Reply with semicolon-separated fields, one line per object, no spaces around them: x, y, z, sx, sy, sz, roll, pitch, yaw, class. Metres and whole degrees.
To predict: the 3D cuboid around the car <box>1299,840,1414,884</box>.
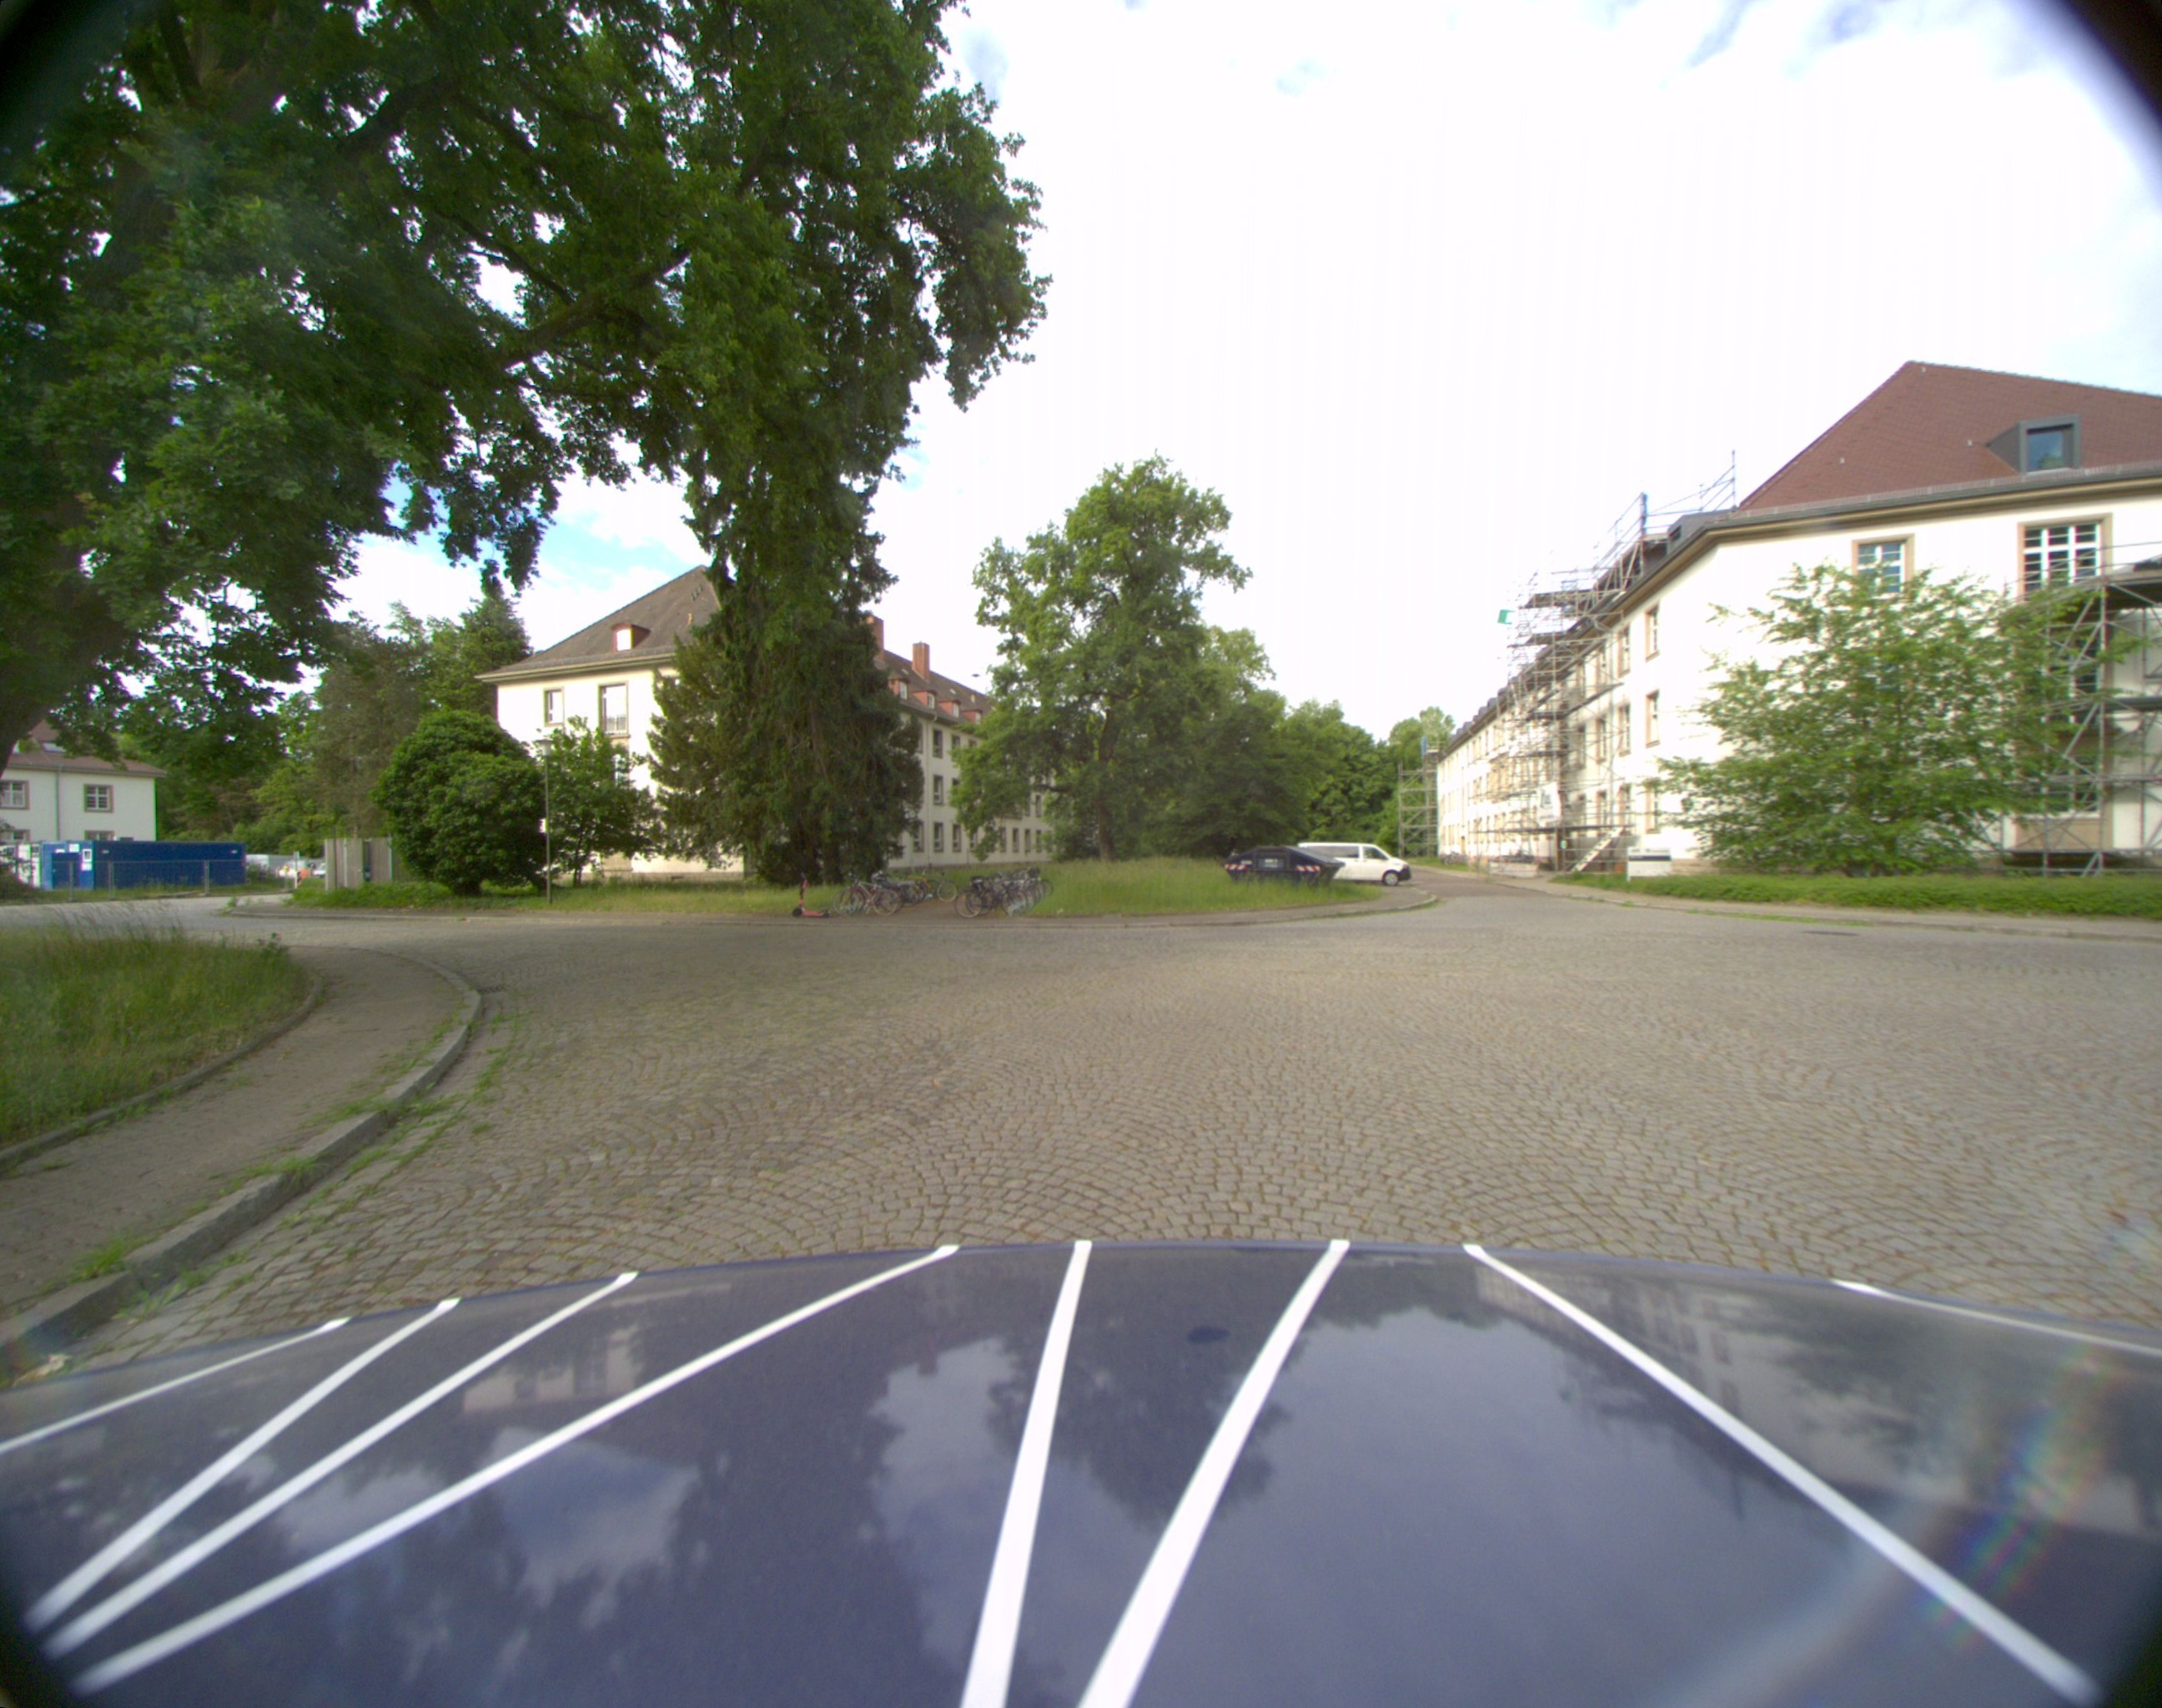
12.853;0.367;35.764;4.909;1.983;2.002;-1;0;15;car

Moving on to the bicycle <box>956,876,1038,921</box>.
-2.118;1.115;19.253;2.017;1.082;0.478;-1;3;-4;bicycle

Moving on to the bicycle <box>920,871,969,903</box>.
-4.528;1.096;25.204;1.566;1.028;0.476;0;1;-6;bicycle

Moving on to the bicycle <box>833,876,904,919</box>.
-5.773;1.179;20.723;1.813;1.082;0.478;-1;3;-9;bicycle

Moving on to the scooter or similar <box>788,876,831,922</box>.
-7.279;1.202;20.386;1.061;1.188;0.386;-1;1;21;scooter or similar

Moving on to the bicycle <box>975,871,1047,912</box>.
-1.967;1.049;21.504;2.017;1.082;0.478;-1;3;-4;bicycle

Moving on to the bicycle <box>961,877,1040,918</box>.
-2.074;1.115;19.743;2.017;1.004;0.478;-1;3;-4;bicycle

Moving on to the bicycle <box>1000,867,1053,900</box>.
-1.905;1.037;26.590;1.825;1.082;0.553;-1;3;-4;bicycle

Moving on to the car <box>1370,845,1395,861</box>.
38.607;-0.141;97.522;2.026;1.915;4.002;-1;0;7;car

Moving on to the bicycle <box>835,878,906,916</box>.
-5.869;1.195;21.273;1.856;0.984;0.456;-1;1;-9;bicycle

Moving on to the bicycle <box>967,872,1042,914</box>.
-2.100;1.071;20.876;2.017;1.082;0.478;-1;3;-4;bicycle

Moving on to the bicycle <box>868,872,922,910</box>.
-5.594;1.105;22.928;1.566;1.082;0.561;-1;1;-13;bicycle

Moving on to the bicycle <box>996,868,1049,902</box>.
-1.985;1.049;25.799;1.750;1.082;0.553;-1;3;-4;bicycle

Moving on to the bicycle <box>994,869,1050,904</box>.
-1.937;1.054;25.019;1.807;1.082;0.553;-1;3;-4;bicycle

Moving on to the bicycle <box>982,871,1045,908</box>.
-2.039;1.074;23.115;1.865;1.082;0.519;-1;3;-4;bicycle

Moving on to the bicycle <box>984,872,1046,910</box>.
-1.938;1.081;22.324;1.788;1.082;0.478;-1;3;-4;bicycle
